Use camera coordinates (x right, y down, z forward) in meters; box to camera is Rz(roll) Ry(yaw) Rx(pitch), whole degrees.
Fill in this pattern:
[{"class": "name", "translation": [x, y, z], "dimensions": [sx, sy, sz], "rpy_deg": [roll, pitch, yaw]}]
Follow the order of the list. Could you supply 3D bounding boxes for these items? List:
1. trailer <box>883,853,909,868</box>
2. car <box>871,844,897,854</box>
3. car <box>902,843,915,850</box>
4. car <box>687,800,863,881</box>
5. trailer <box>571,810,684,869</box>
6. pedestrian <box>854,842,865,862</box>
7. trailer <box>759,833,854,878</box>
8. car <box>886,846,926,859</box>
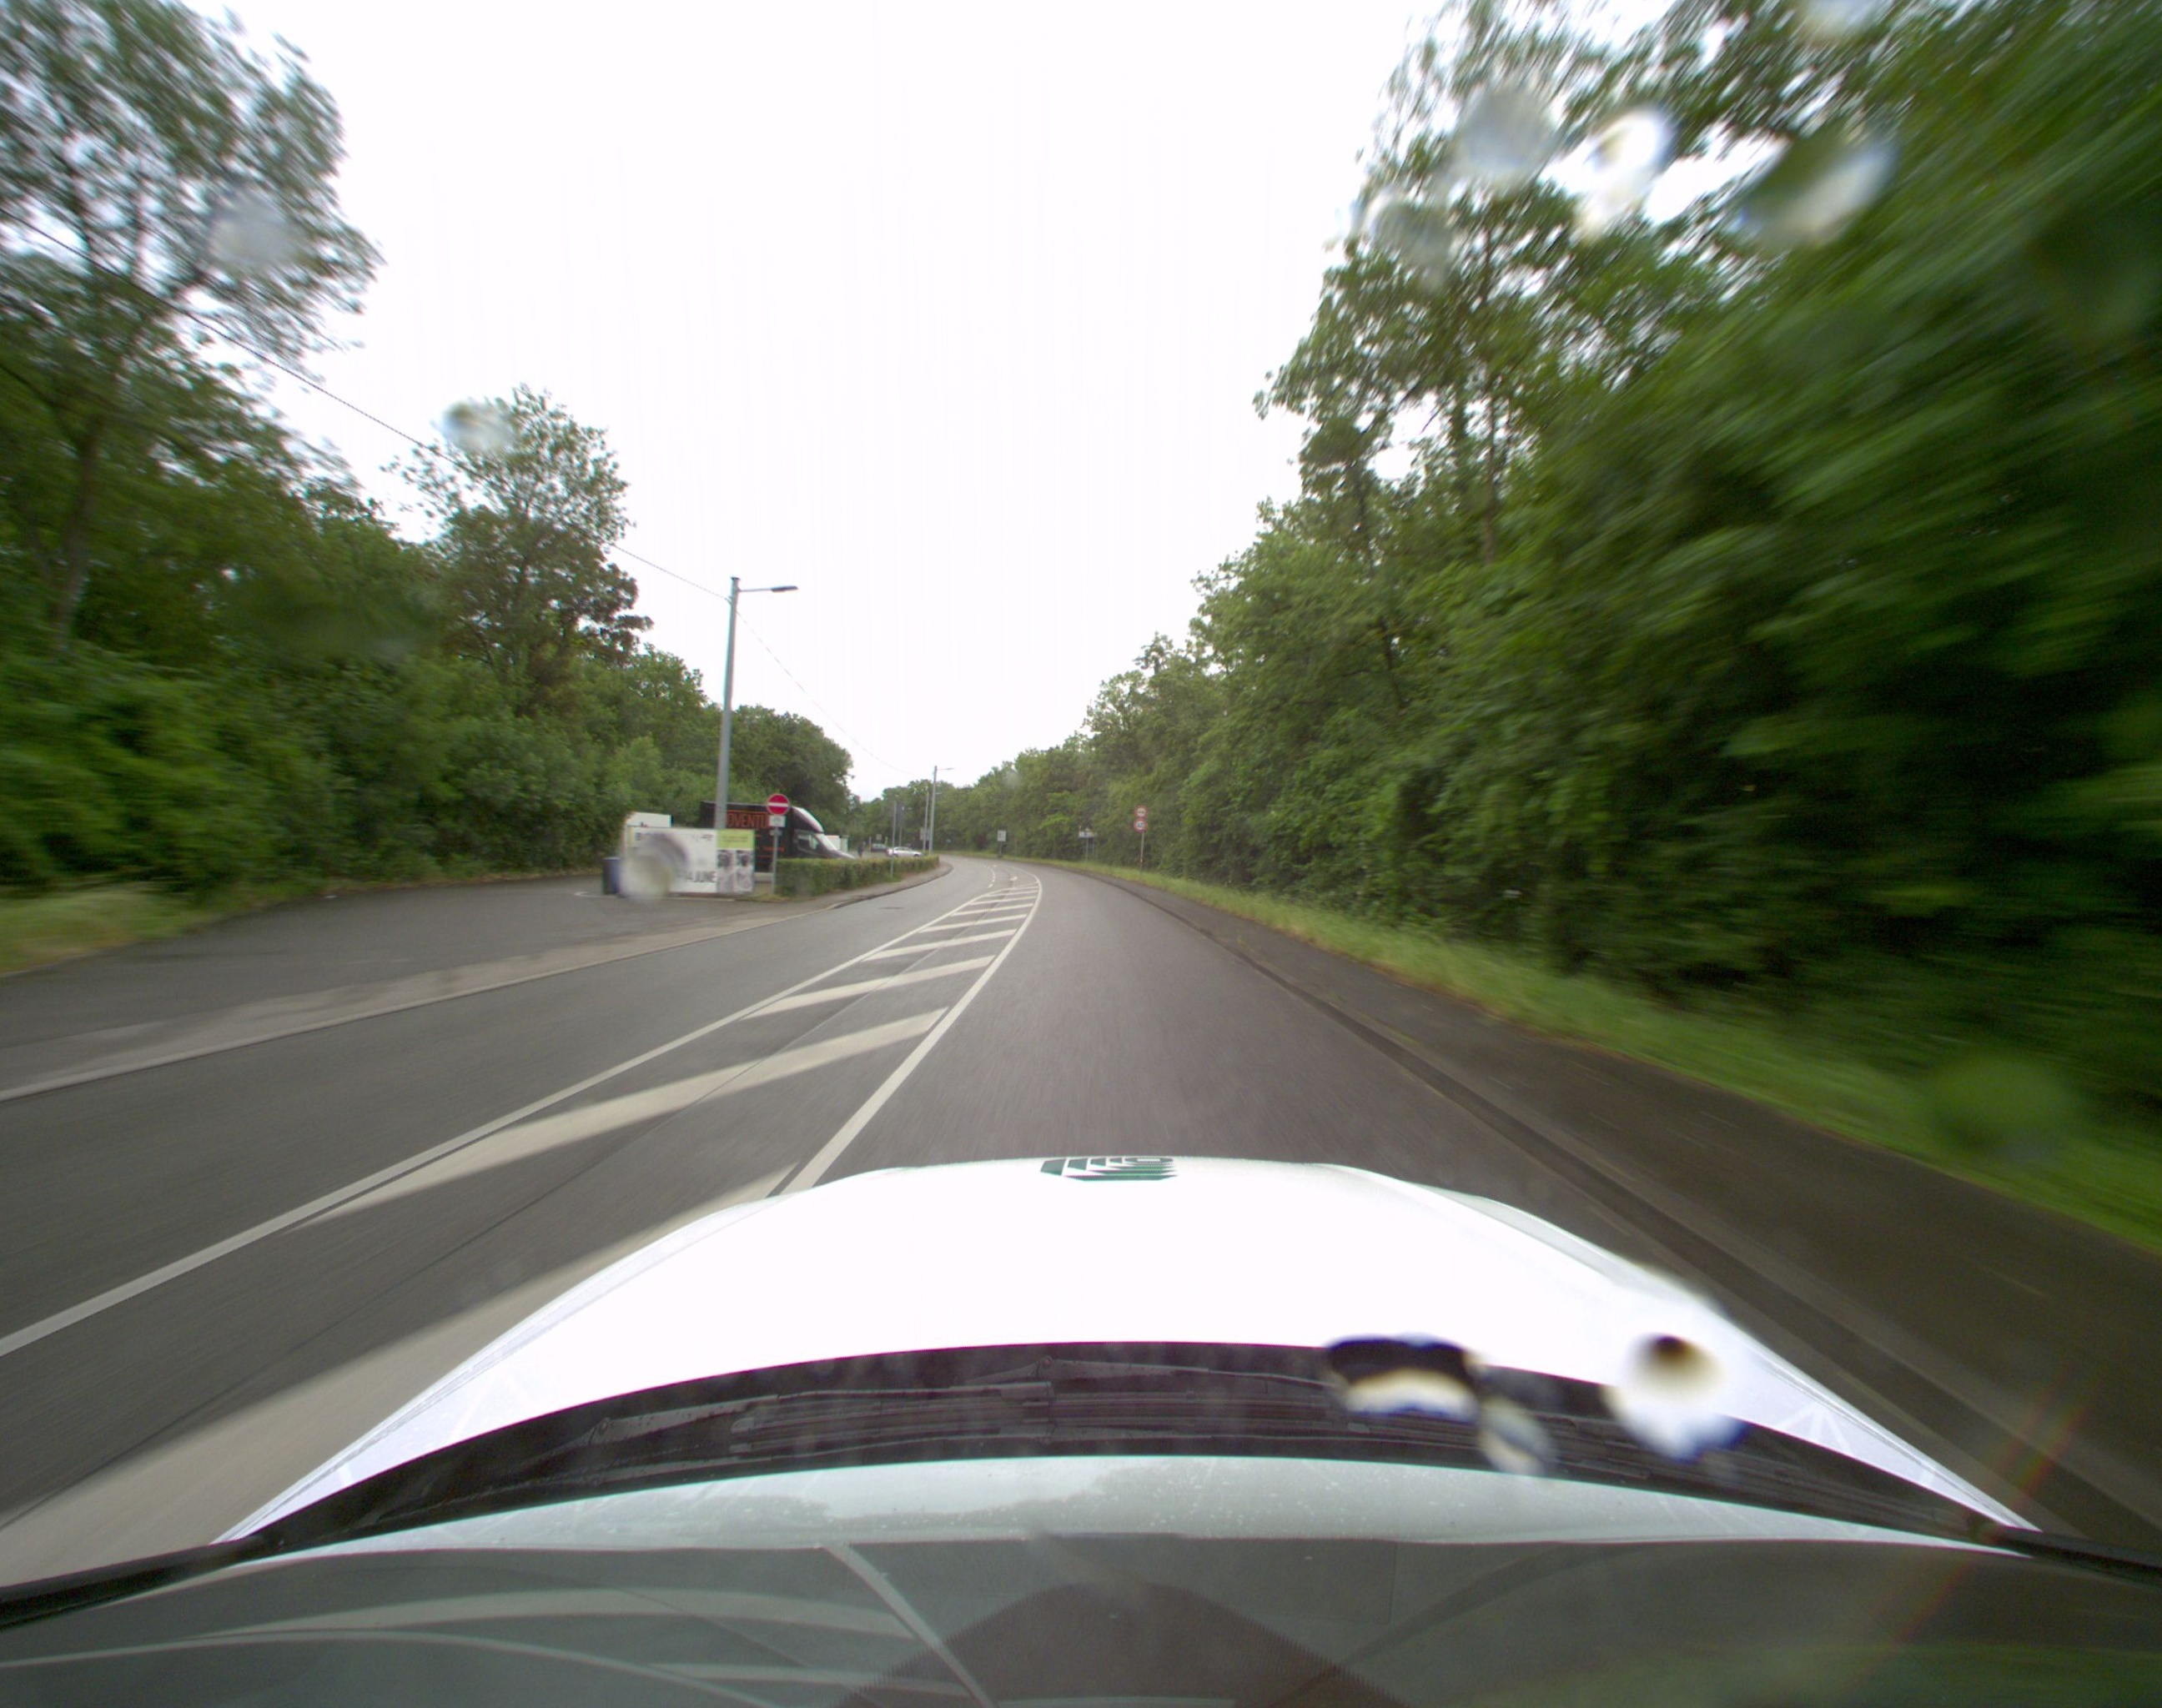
[{"class": "trailer", "translation": [-13.584, 0.489, 59.978], "dimensions": [1.802, 1.034, 1.329], "rpy_deg": [1, 0, -11]}, {"class": "car", "translation": [-35.031, -0.913, 144.733], "dimensions": [4.300, 1.708, 1.989], "rpy_deg": [2, 0, -17]}, {"class": "car", "translation": [-38.897, -1.679, 183.523], "dimensions": [1.944, 1.498, 4.283], "rpy_deg": [1, 1, -25]}, {"class": "car", "translation": [-12.545, -0.497, 33.897], "dimensions": [6.267, 3.113, 2.744], "rpy_deg": [1, -1, -8]}, {"class": "trailer", "translation": [-24.049, -0.716, 43.687], "dimensions": [2.474, 2.873, 7.957], "rpy_deg": [1, 0, -7]}, {"class": "pedestrian", "translation": [-19.761, -0.185, 72.661], "dimensions": [0.817, 1.797, 1.131], "rpy_deg": [1, 0, -12]}, {"class": "trailer", "translation": [-13.182, 0.084, 39.291], "dimensions": [3.980, 2.053, 1.870], "rpy_deg": [1, 0, -5]}, {"class": "car", "translation": [-21.650, -0.212, 100.617], "dimensions": [4.589, 1.506, 1.987], "rpy_deg": [1, 0, -20]}]
